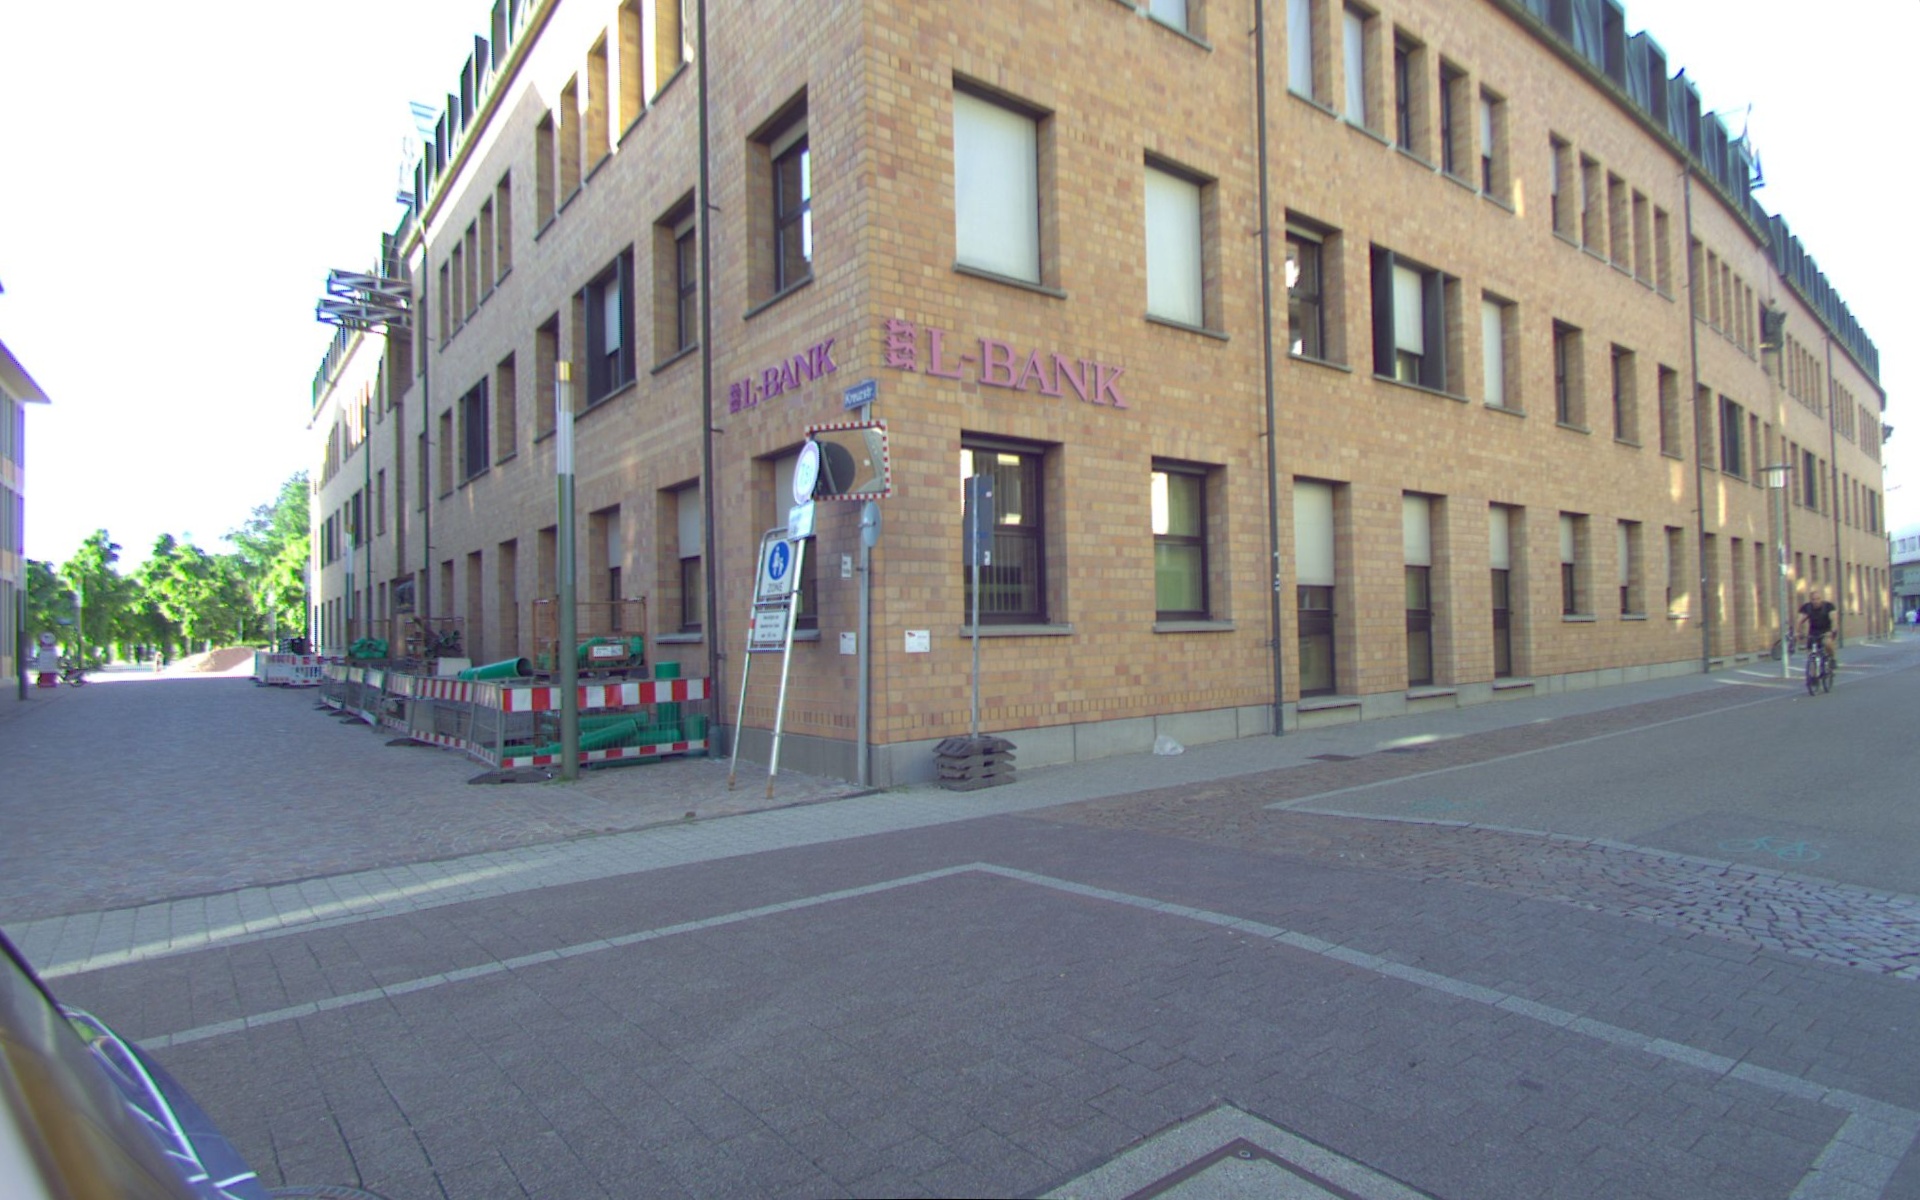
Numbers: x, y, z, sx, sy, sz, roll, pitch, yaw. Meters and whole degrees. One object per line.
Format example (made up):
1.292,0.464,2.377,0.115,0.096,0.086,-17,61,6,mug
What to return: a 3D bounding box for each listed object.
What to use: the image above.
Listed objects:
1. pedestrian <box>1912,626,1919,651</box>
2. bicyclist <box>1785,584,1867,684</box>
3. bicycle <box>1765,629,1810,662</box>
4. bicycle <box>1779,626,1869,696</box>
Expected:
59.953,2.391,63.267,0.399,1.556,0.544,0,-1,-40,pedestrian
15.038,0.590,17.575,0.941,1.668,0.774,0,-5,-37,bicyclist
24.215,1.299,29.598,2.517,0.888,0.644,0,-1,-42,bicycle
14.880,1.040,17.411,1.798,1.112,0.706,0,-6,-37,bicycle
